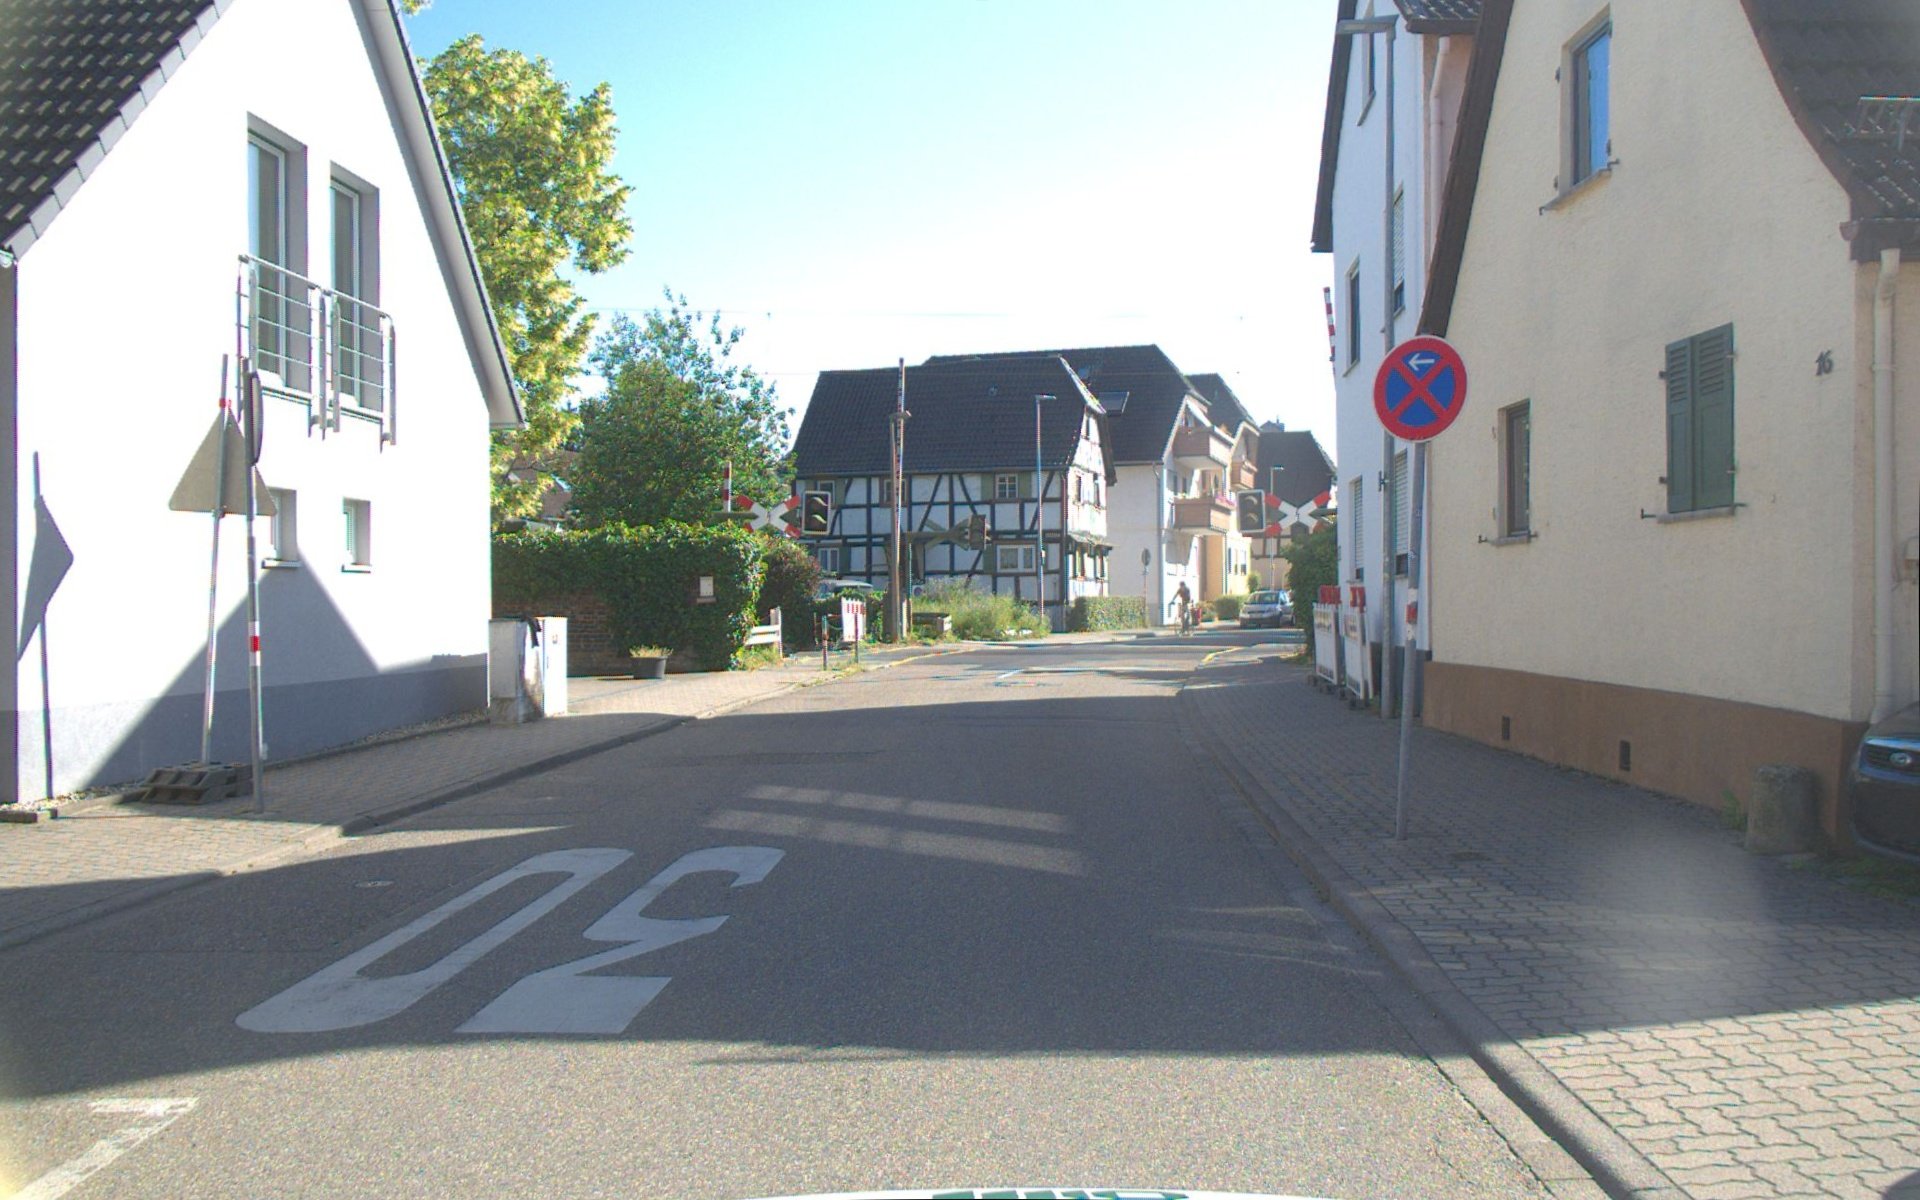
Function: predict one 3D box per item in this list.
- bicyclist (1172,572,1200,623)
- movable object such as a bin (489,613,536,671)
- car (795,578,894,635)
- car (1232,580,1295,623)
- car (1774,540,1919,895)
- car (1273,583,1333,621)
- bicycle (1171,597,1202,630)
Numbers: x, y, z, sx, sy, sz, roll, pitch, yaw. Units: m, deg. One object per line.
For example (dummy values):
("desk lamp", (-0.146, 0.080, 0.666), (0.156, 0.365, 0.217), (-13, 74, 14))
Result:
("bicyclist", (7.141, -0.078, 52.303), (0.830, 1.568, 0.874), (0, 0, 5))
("movable object such as a bin", (-7.363, 0.685, 27.222), (0.578, 0.950, 0.508), (0, 0, 9))
("car", (-3.480, 0.158, 49.210), (1.661, 1.591, 3.970), (1, 1, -24))
("car", (12.337, 0.036, 67.016), (1.598, 1.532, 3.852), (-4, 0, 24))
("car", (6.191, 0.403, 7.287), (4.287, 1.513, 1.839), (-3, 0, -3))
("car", (14.889, 0.082, 71.681), (1.640, 1.532, 4.092), (-1, 1, 25))
("bicycle", (7.145, 0.407, 52.267), (0.865, 1.023, 2.064), (0, 0, 5))
